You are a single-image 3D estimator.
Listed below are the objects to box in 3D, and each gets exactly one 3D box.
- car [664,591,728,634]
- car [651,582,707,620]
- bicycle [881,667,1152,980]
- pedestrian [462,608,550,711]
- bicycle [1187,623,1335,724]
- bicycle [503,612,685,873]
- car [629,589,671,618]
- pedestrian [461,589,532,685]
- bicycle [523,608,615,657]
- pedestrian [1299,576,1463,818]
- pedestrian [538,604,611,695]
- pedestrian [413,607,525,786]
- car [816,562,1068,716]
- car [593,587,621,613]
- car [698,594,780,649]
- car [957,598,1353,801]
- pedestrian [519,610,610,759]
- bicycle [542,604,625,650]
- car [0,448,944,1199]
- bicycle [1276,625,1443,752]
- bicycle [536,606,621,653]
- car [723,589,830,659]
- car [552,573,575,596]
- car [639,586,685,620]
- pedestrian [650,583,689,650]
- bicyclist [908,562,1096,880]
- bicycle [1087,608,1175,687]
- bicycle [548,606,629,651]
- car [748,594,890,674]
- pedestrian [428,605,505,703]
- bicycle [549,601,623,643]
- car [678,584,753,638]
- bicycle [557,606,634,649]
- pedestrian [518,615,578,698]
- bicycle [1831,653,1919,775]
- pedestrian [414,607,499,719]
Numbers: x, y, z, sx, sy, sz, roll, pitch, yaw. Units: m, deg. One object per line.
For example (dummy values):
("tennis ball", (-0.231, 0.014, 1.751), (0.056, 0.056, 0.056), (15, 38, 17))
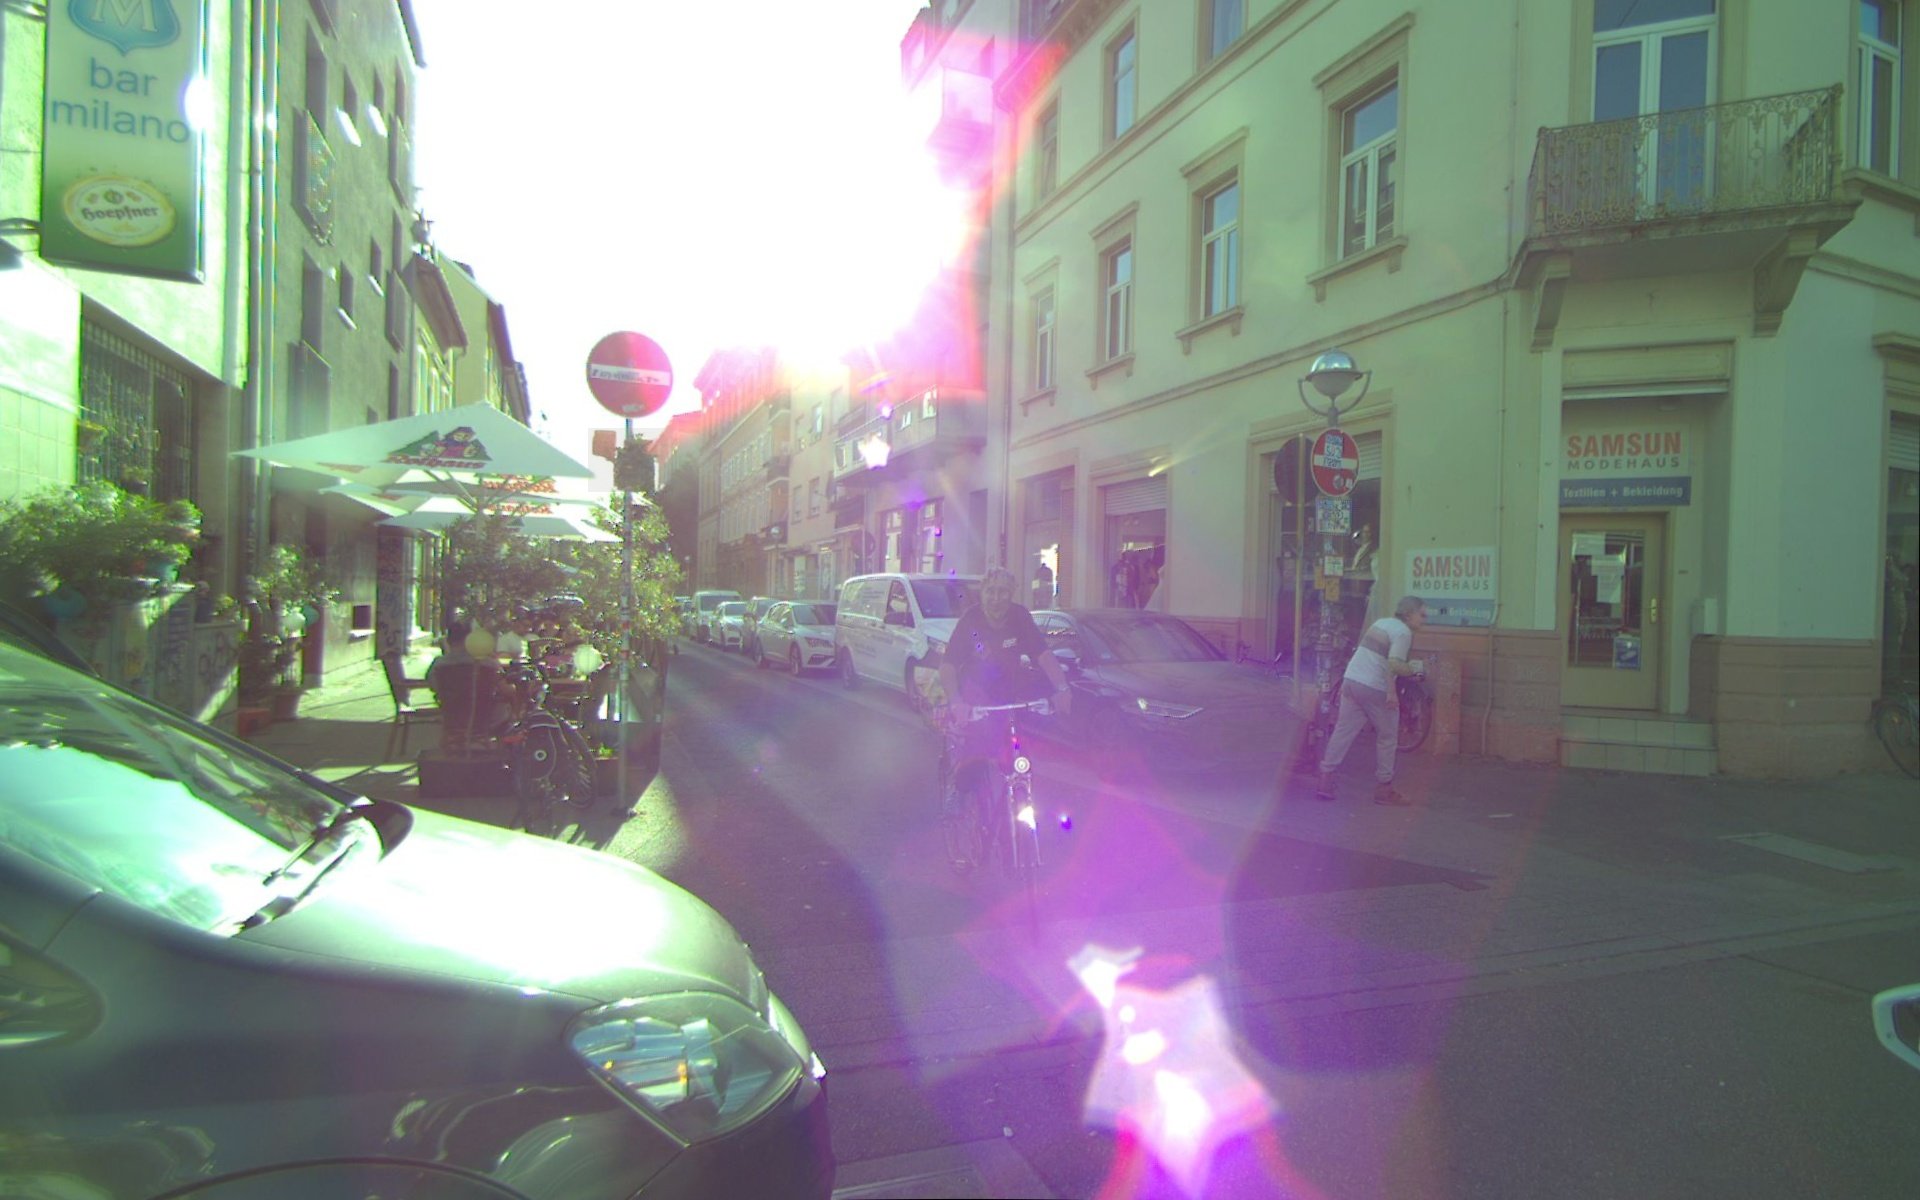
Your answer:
("car", (-10.605, 0.459, 40.153), (1.748, 1.590, 4.131), (1, 0, -25))
("car", (-12.584, 0.027, 44.814), (1.748, 1.590, 4.131), (1, 0, -25))
("bicycle", (0.175, 0.961, 5.044), (0.699, 1.126, 1.927), (1, 0, -18))
("pedestrian", (-5.443, 0.692, 12.062), (0.647, 1.160, 0.689), (2, 1, 22))
("bicycle", (3.761, 0.886, 12.732), (0.605, 1.085, 1.914), (2, 1, -27))
("bicycle", (-2.449, 0.792, 6.734), (0.915, 1.377, 2.472), (2, 0, -21))
("car", (-17.848, 0.174, 57.705), (1.748, 1.590, 4.131), (1, 0, -25))
("pedestrian", (-6.492, 0.507, 14.082), (0.602, 1.283, 0.660), (2, 1, 8))
("bicycle", (-9.142, 0.760, 23.536), (0.604, 1.085, 1.915), (3, 1, 45))
("pedestrian", (3.219, 0.694, 7.730), (0.852, 1.725, 0.692), (-1, 5, -22))
("pedestrian", (-5.747, 0.722, 14.985), (0.710, 1.283, 0.680), (2, 1, 21))
("pedestrian", (-3.762, 0.719, 7.748), (0.650, 1.283, 0.685), (2, 1, -18))
("car", (-0.506, 0.465, 14.947), (1.832, 1.875, 5.069), (1, 0, -25))
("car", (-26.259, -0.021, 74.656), (1.746, 1.898, 4.134), (1, 0, -23))
("car", (-6.506, 0.588, 29.319), (1.577, 1.458, 3.562), (1, 0, -25))
("car", (1.583, 0.757, 9.735), (1.734, 1.475, 4.129), (1, 0, -23))
("pedestrian", (-3.646, 0.761, 9.324), (0.695, 1.283, 0.847), (2, 1, -18))
("bicycle", (-9.531, 0.683, 25.478), (1.897, 1.085, 0.610), (2, 1, -18))
("car", (-2.240, 0.653, 1.445), (4.108, 1.626, 1.718), (1, -1, -24))
("bicycle", (4.232, 0.899, 10.828), (0.602, 1.164, 1.921), (2, 1, -15))
("bicycle", (-9.366, 0.719, 24.729), (1.897, 1.085, 0.610), (2, 1, -18))
("car", (-4.733, 0.547, 25.373), (1.746, 1.590, 4.387), (1, 0, -23))
("car", (-38.146, -1.463, 96.624), (1.969, 2.115, 5.471), (1, 0, -22))
("car", (-15.885, 0.140, 53.397), (1.748, 1.674, 4.131), (1, 0, -25))
("pedestrian", (-7.476, 0.418, 25.816), (0.817, 1.673, 0.738), (2, 1, -24))
("bicyclist", (0.188, 0.563, 5.088), (0.699, 1.455, 0.786), (1, 0, -18))
("bicycle", (2.732, 0.740, 16.266), (0.602, 1.137, 1.921), (2, 1, -15))
("bicycle", (-9.691, 0.741, 26.263), (1.897, 1.085, 0.610), (2, 1, -18))
("car", (-2.949, 0.620, 20.279), (1.735, 1.429, 3.941), (1, 0, -25))
("pedestrian", (-6.176, 0.657, 12.571), (0.647, 1.160, 0.542), (2, 1, 22))
("bicycle", (-10.541, 0.622, 28.375), (1.897, 1.085, 0.610), (2, 1, -18))
("car", (-8.535, 0.344, 34.855), (1.748, 1.736, 4.131), (1, 0, -25))
("bicycle", (-9.780, 0.740, 27.025), (1.897, 1.085, 0.610), (2, 1, -18))
("pedestrian", (-5.580, 0.758, 13.635), (0.667, 1.068, 0.721), (2, 1, -18))
("bicycle", (9.305, 1.077, 9.644), (1.792, 1.036, 0.602), (2, 3, -22))
("pedestrian", (-5.563, 0.683, 11.127), (0.669, 1.170, 0.658), (2, 1, -13))
